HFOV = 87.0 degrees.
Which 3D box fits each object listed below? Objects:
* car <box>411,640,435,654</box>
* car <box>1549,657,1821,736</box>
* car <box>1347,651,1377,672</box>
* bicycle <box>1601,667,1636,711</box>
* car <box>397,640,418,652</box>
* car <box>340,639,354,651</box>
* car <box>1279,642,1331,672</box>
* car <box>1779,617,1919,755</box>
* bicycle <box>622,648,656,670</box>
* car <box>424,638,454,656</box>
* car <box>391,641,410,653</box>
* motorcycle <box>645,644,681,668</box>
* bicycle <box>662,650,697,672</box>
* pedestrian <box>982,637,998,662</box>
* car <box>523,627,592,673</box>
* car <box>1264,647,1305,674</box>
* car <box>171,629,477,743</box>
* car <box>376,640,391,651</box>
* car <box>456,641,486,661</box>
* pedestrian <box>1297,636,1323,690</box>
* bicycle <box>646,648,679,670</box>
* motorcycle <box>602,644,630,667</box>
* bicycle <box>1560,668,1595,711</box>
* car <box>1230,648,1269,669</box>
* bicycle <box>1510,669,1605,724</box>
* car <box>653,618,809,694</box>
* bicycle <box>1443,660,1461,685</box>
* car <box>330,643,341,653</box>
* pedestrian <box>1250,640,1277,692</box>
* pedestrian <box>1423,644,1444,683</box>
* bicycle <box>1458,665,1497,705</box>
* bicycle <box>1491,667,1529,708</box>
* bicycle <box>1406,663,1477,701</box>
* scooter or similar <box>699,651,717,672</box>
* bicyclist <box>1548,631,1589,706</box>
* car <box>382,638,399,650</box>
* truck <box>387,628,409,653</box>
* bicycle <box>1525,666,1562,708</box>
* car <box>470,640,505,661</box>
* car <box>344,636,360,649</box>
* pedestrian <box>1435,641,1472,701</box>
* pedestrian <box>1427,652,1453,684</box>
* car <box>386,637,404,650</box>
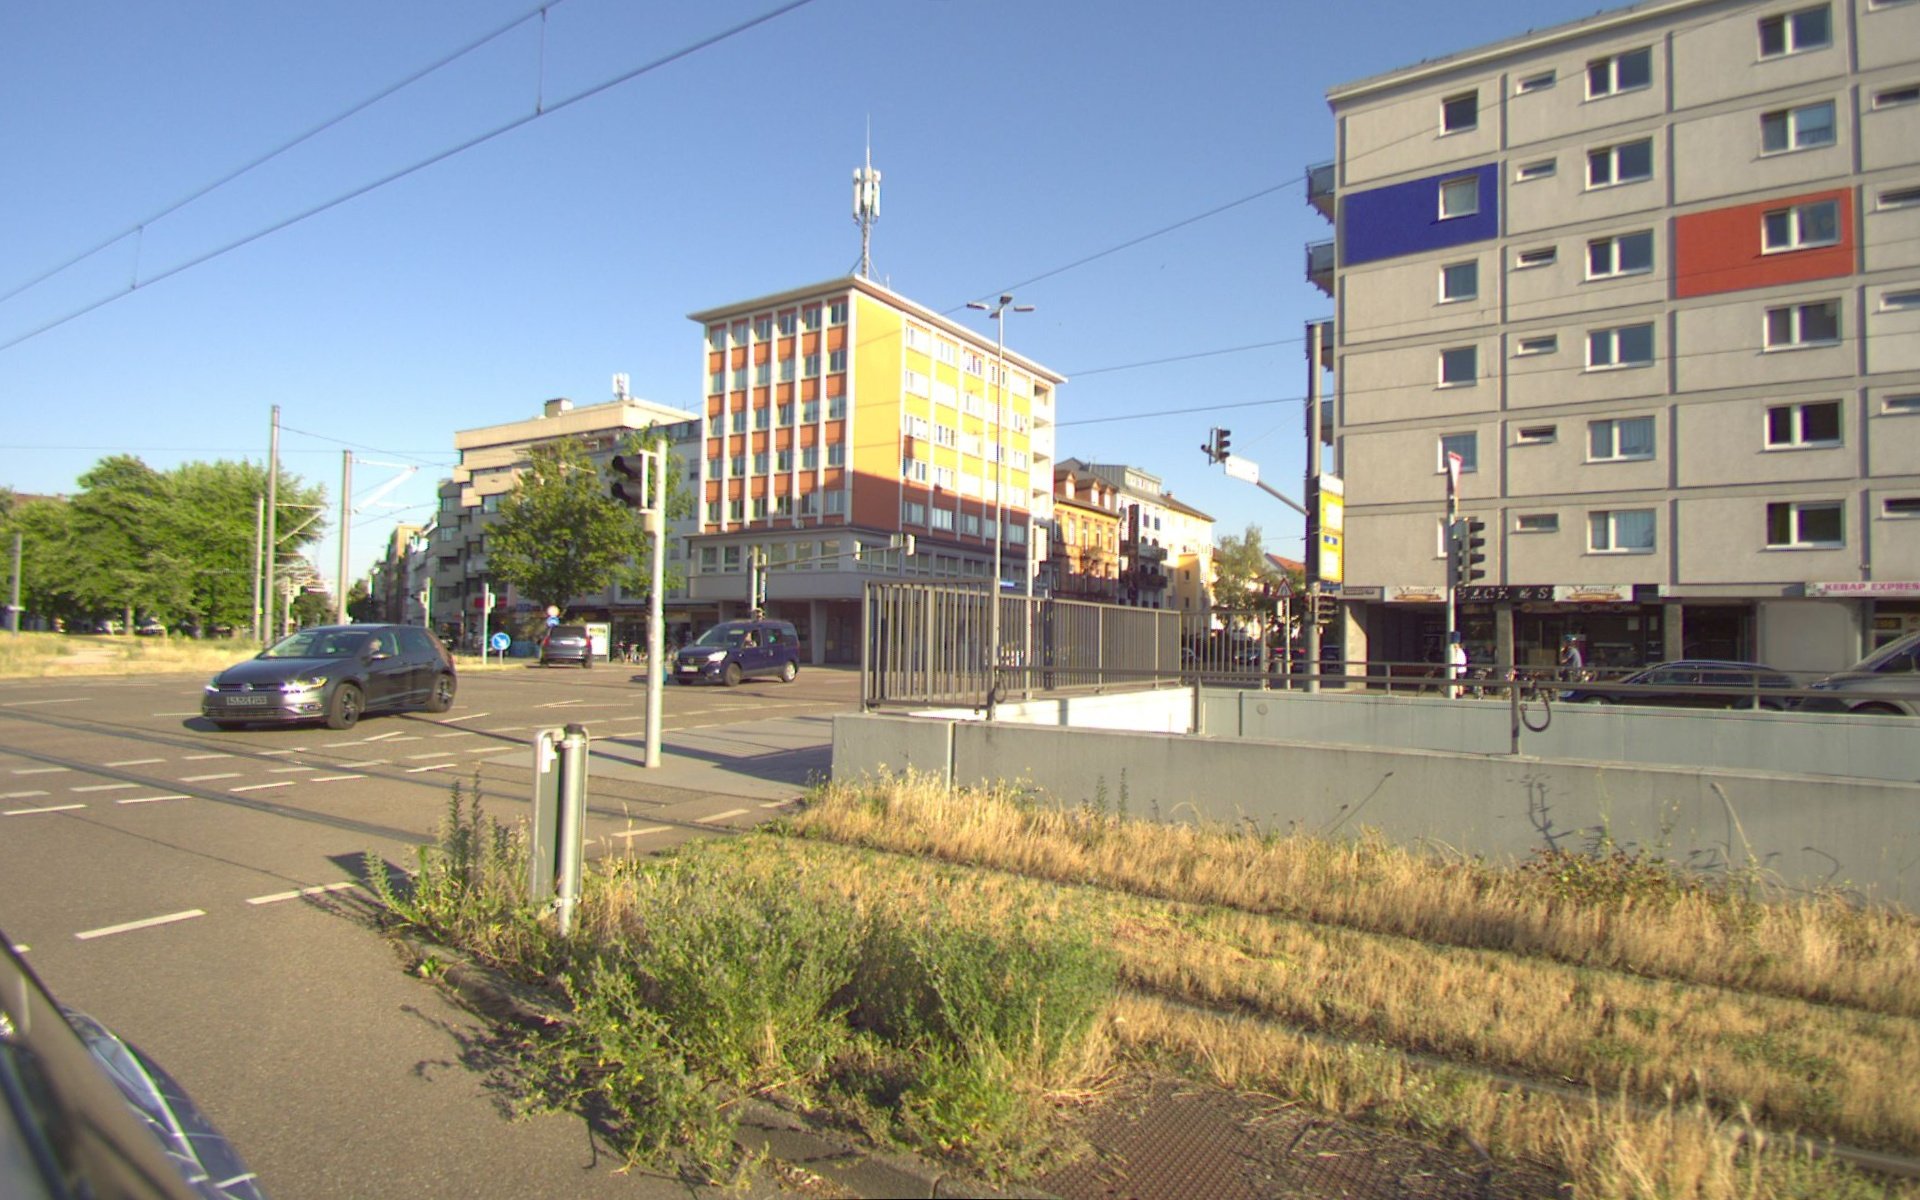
[{"bbox_3d":[-54.660,4.761,102.963,1.711,1.394,3.399,3,-3,-35],"label":"car"},{"bbox_3d":[14.096,1.838,19.990,4.188,1.323,1.781,-1,-3,33],"label":"car"},{"bbox_3d":[32.543,4.981,81.846,1.674,1.556,3.600,1,-3,30],"label":"car"},{"bbox_3d":[17.420,2.321,26.776,0.735,1.059,2.273,-1,-3,33],"label":"bicycle"},{"bbox_3d":[-62.409,5.178,114.314,1.711,1.394,3.633,3,-3,-35],"label":"car"},{"bbox_3d":[-96.752,7.148,159.627,1.622,1.828,3.497,3,-3,-35],"label":"car"},{"bbox_3d":[19.506,3.240,57.114,1.795,1.577,4.100,0,-4,33],"label":"car"},{"bbox_3d":[15.596,1.288,15.150,4.923,2.029,1.978,-1,-3,33],"label":"car"},{"bbox_3d":[-17.542,3.204,55.277,1.972,1.124,0.587,1,-3,32],"label":"bicycle"},{"bbox_3d":[-48.375,4.338,93.902,1.931,1.568,3.883,3,-3,-35],"label":"car"},{"bbox_3d":[-69.610,5.866,125.860,1.711,1.394,3.633,3,-3,-35],"label":"car"},{"bbox_3d":[-17.812,3.340,60.792,0.838,1.403,2.249,-2,-3,22],"label":"motorcycle"},{"bbox_3d":[-16.002,3.457,57.709,2.055,1.123,0.587,1,-3,32],"label":"bicycle"},{"bbox_3d":[2.126,3.529,71.427,0.667,1.739,0.999,-1,-3,36],"label":"pedestrian"},{"bbox_3d":[-16.454,1.998,41.205,1.965,1.737,5.047,1,-2,-29],"label":"car"},{"bbox_3d":[20.416,3.805,63.586,1.579,1.556,3.437,1,-3,34],"label":"car"},{"bbox_3d":[-9.285,1.184,15.268,1.749,1.470,4.264,-1,-2,4],"label":"car"},{"bbox_3d":[-93.775,7.392,164.524,1.776,1.607,3.687,3,-3,-35],"label":"car"},{"bbox_3d":[-39.736,4.146,82.248,1.614,1.558,3.645,3,-3,-35],"label":"car"},{"bbox_3d":[12.554,2.260,36.247,0.609,1.890,0.802,-4,-5,34],"label":"pedestrian"},{"bbox_3d":[-16.663,3.298,56.653,2.001,1.123,0.587,1,-3,33],"label":"bicycle"},{"bbox_3d":[-20.591,3.310,60.543,0.876,1.318,2.060,2,-3,-40],"label":"motorcycle"},{"bbox_3d":[16.692,2.394,27.328,0.735,1.059,2.273,-1,-3,33],"label":"bicycle"},{"bbox_3d":[23.391,4.701,81.732,1.903,1.552,3.954,-1,-3,33],"label":"car"},{"bbox_3d":[13.482,2.154,22.838,1.778,1.105,0.940,0,-3,35],"label":"bicycle"},{"bbox_3d":[-6.225,1.527,28.046,1.885,1.868,4.429,1,-2,24],"label":"car"},{"bbox_3d":[20.323,2.987,41.803,0.623,1.006,1.683,0,-3,24],"label":"bicycle"},{"bbox_3d":[-116.583,8.873,188.886,1.622,1.828,3.497,3,-3,-35],"label":"car"},{"bbox_3d":[10.736,2.326,35.773,0.609,1.800,0.802,-5,-5,37],"label":"pedestrian"},{"bbox_3d":[20.938,2.810,44.762,0.616,1.685,0.659,1,-3,-2],"label":"pedestrian"},{"bbox_3d":[14.646,2.385,28.615,0.735,1.059,2.273,-1,-3,33],"label":"bicycle"},{"bbox_3d":[15.326,2.409,28.178,0.735,1.059,2.273,-1,-3,33],"label":"bicycle"},{"bbox_3d":[14.538,2.471,30.556,2.032,1.100,0.521,1,-3,-13],"label":"bicycle"},{"bbox_3d":[-15.340,3.740,61.664,0.476,1.245,1.565,3,-2,-36],"label":"scooter or similar"},{"bbox_3d":[13.687,1.536,22.742,0.736,1.610,0.952,0,-3,34],"label":"bicyclist"},{"bbox_3d":[-81.012,6.271,144.035,1.742,1.715,3.589,3,-3,-35],"label":"car"},{"bbox_3d":[-73.619,5.312,132.558,1.711,3.245,6.423,3,-3,-35],"label":"truck"},{"bbox_3d":[16.019,2.358,27.751,0.735,1.059,2.273,-1,-3,33],"label":"bicycle"},{"bbox_3d":[-34.035,3.645,72.857,1.614,1.439,3.645,3,-3,-35],"label":"car"},{"bbox_3d":[-81.557,5.692,135.729,1.622,1.828,3.497,3,-3,-35],"label":"car"},{"bbox_3d":[14.623,2.108,30.009,0.600,1.736,0.686,0,-4,-15],"label":"pedestrian"},{"bbox_3d":[20.404,2.900,43.019,0.615,1.324,0.812,1,-3,-10],"label":"pedestrian"},{"bbox_3d":[-77.319,5.937,138.462,1.742,1.715,3.589,3,-3,-35],"label":"car"}]
